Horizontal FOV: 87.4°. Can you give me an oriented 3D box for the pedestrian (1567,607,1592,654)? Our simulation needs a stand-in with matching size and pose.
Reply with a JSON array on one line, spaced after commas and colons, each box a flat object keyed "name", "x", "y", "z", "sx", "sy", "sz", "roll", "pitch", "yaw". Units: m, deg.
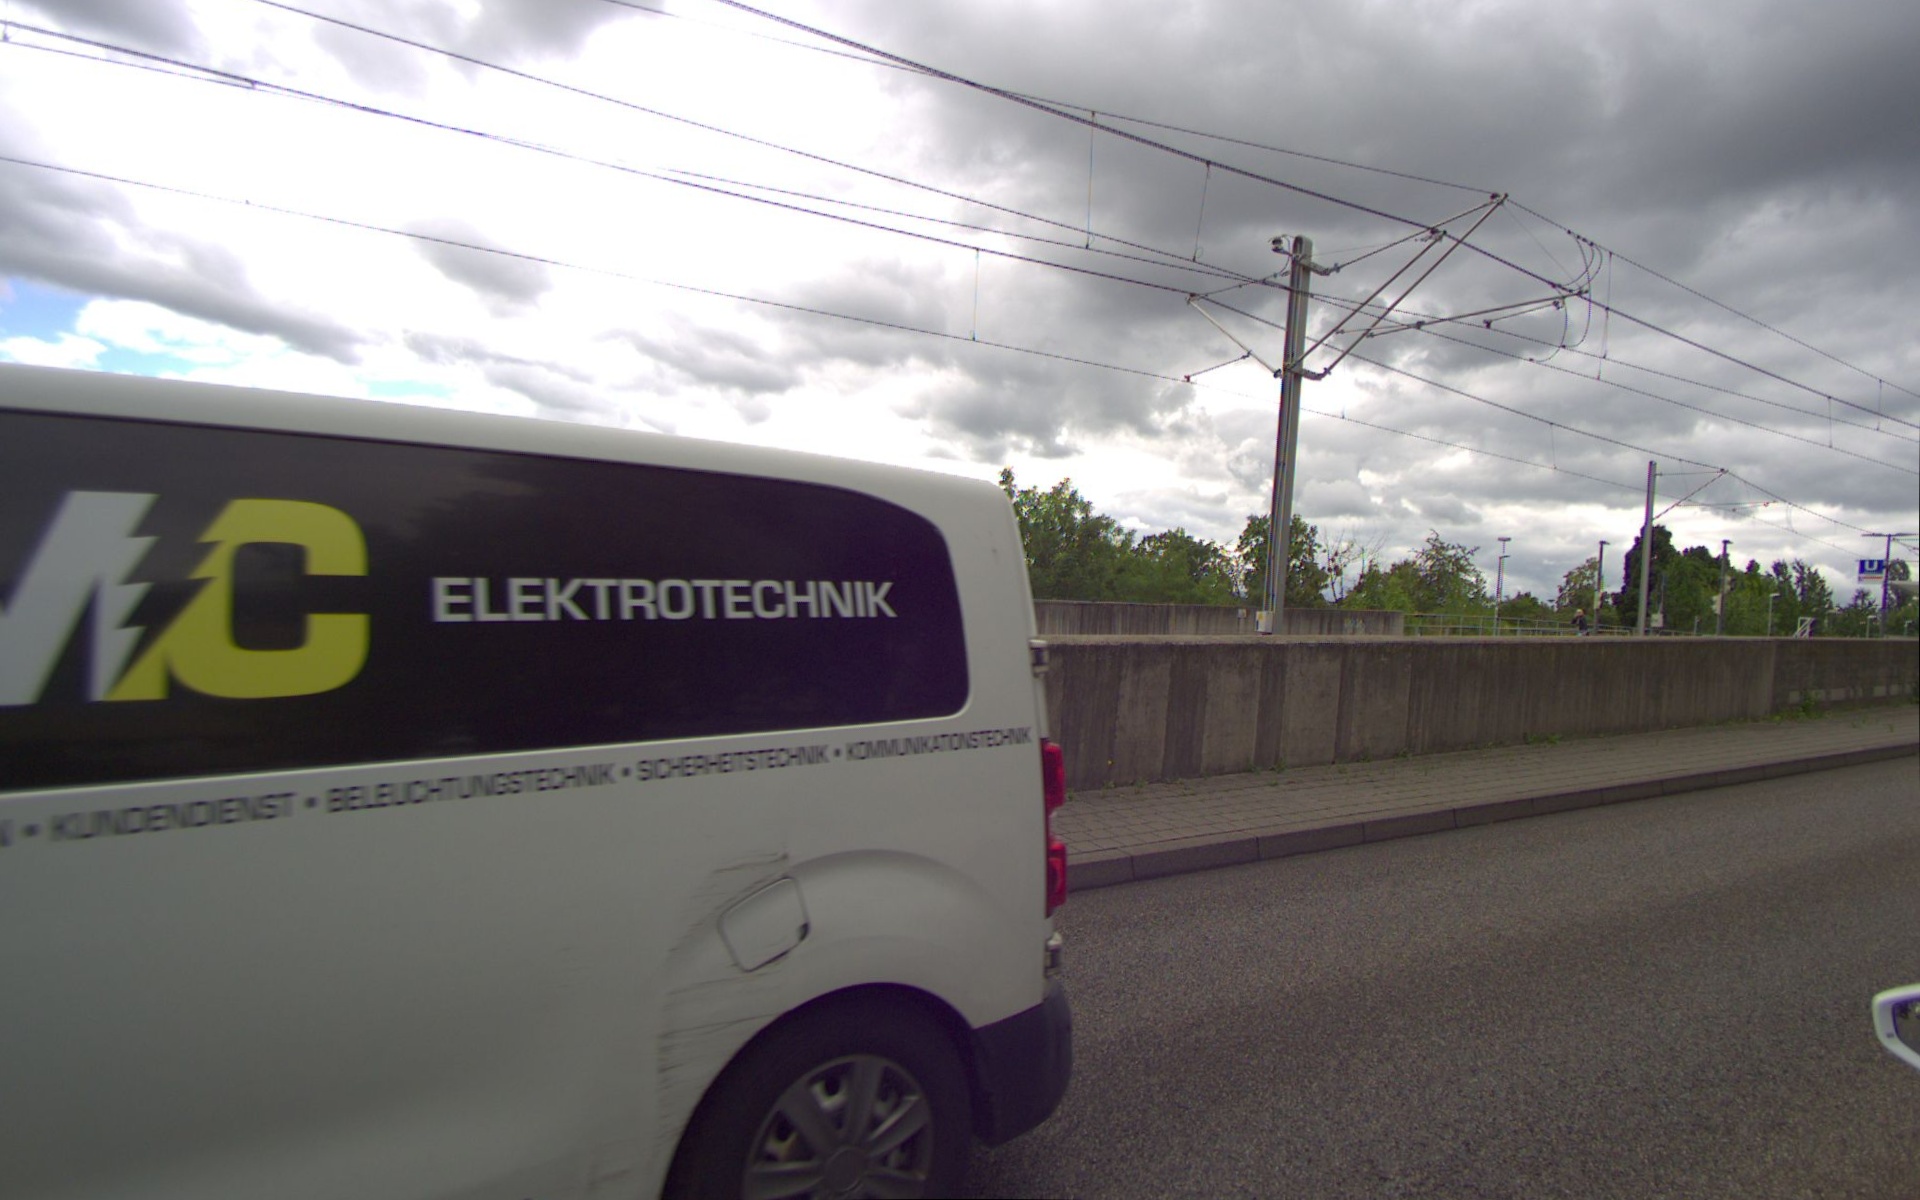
[{"name": "pedestrian", "x": 22.095, "y": 1.076, "z": 35.827, "sx": 0.638, "sy": 1.646, "sz": 0.505, "roll": 2, "pitch": 0, "yaw": -31}]

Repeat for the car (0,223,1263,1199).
[{"name": "car", "x": -1.793, "y": 0.434, "z": 2.090, "sx": 4.850, "sy": 1.858, "sz": 1.886, "roll": 2, "pitch": -1, "yaw": -31}]
